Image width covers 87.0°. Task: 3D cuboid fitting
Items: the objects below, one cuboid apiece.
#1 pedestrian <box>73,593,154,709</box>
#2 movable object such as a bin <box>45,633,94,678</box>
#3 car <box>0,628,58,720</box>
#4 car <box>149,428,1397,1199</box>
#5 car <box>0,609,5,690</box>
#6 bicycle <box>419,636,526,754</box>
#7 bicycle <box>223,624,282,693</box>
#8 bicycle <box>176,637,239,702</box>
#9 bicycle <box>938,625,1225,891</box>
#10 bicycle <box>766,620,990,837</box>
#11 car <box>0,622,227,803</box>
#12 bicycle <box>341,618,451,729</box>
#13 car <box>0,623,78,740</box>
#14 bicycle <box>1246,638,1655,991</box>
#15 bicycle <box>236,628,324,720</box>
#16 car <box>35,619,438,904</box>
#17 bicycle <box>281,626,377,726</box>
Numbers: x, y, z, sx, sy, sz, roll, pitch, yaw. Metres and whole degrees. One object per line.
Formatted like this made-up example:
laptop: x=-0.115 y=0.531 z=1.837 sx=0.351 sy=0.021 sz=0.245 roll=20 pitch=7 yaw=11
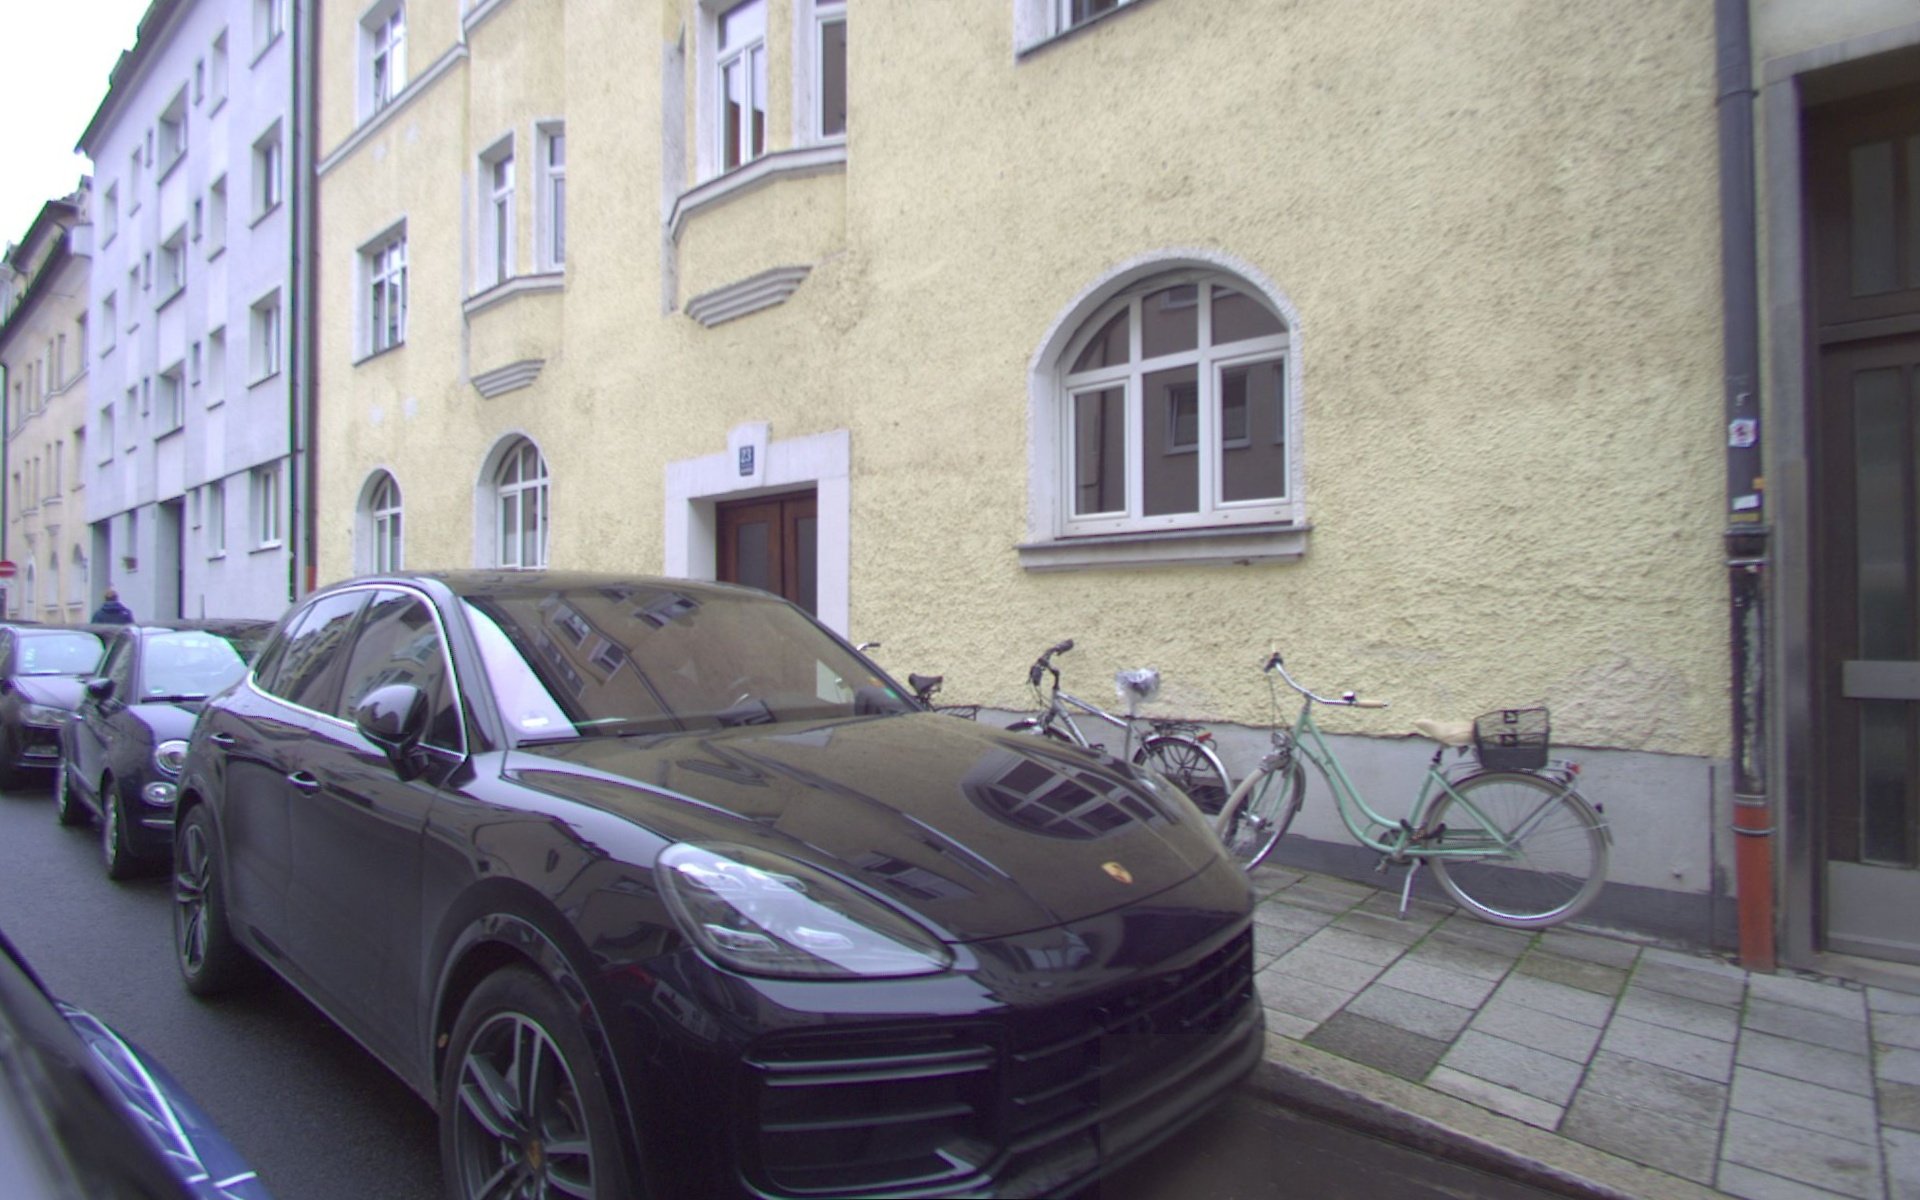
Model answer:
pedestrian: x=-13.546 y=0.783 z=16.192 sx=1.067 sy=1.778 sz=0.830 roll=-1 pitch=-1 yaw=40
movable object such as a bin: x=-22.483 y=1.397 z=25.563 sx=0.622 sy=1.059 sz=0.799 roll=-1 pitch=2 yaw=40
car: x=-16.889 y=1.184 z=17.100 sx=4.247 sy=1.397 sz=1.793 roll=0 pitch=-3 yaw=40
car: x=-1.115 y=0.680 z=3.428 sx=4.414 sy=1.672 sz=1.859 roll=-1 pitch=-2 yaw=42
car: x=-20.917 y=1.040 z=20.345 sx=4.731 sy=1.783 sz=1.844 roll=-1 pitch=-3 yaw=39
bicycle: x=-5.407 y=1.008 z=11.187 sx=1.631 sy=1.199 sz=0.434 roll=-1 pitch=-1 yaw=40
bicycle: x=-11.306 y=0.914 z=16.163 sx=1.569 sy=1.038 sz=0.391 roll=-1 pitch=-1 yaw=41
bicycle: x=-13.118 y=1.185 z=17.629 sx=1.569 sy=1.038 sz=0.540 roll=-1 pitch=-1 yaw=41
bicycle: x=0.649 y=0.804 z=5.730 sx=1.550 sy=1.288 sz=0.529 roll=-1 pitch=1 yaw=40
bicycle: x=-0.586 y=0.793 z=6.835 sx=1.550 sy=1.288 sz=0.529 roll=-1 pitch=1 yaw=40
car: x=-8.766 y=0.961 z=10.000 sx=3.760 sy=1.471 sz=1.547 roll=-1 pitch=-2 yaw=40
bicycle: x=-6.828 y=0.844 z=12.220 sx=1.735 sy=1.243 sz=0.587 roll=-1 pitch=-1 yaw=40
car: x=-13.400 y=1.051 z=13.896 sx=3.403 sy=1.471 sz=1.546 roll=-1 pitch=-2 yaw=42
bicycle: x=2.159 y=0.842 z=4.565 sx=1.550 sy=1.288 sz=0.588 roll=-1 pitch=1 yaw=40
bicycle: x=-9.912 y=1.045 z=14.730 sx=1.735 sy=1.243 sz=0.630 roll=-1 pitch=-1 yaw=41
car: x=-5.114 y=0.881 z=6.993 sx=3.475 sy=1.471 sz=1.546 roll=-1 pitch=-2 yaw=42
bicycle: x=-8.518 y=0.982 z=13.639 sx=1.735 sy=1.243 sz=0.587 roll=-1 pitch=-1 yaw=40
